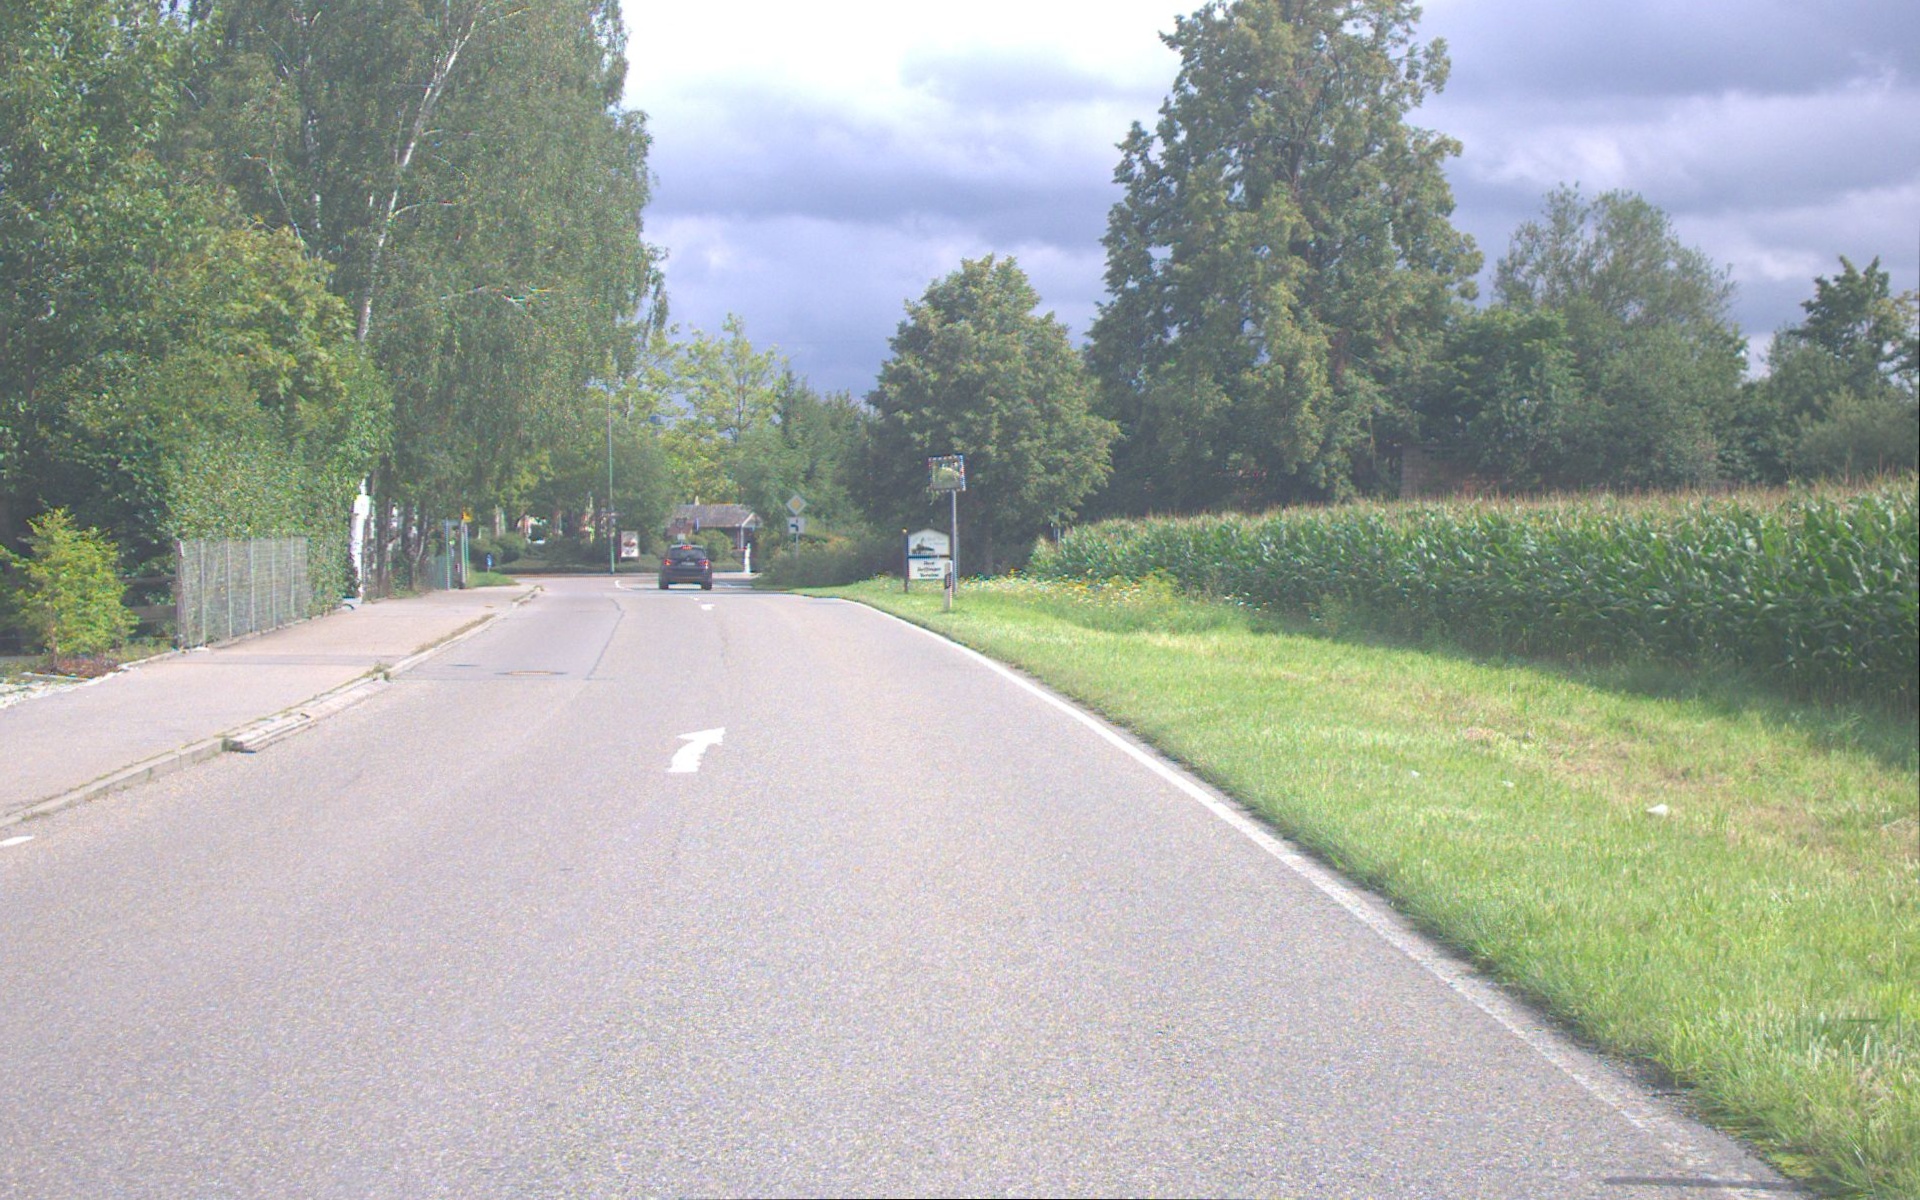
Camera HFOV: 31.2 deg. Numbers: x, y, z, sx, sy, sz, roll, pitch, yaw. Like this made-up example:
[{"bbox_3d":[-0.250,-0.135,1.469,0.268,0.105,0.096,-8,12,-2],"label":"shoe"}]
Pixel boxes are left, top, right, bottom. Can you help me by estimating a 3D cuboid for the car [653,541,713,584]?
[{"bbox_3d":[-10.327,-1.415,128.129,1.993,1.579,4.001,0,1,-8],"label":"car"}]
